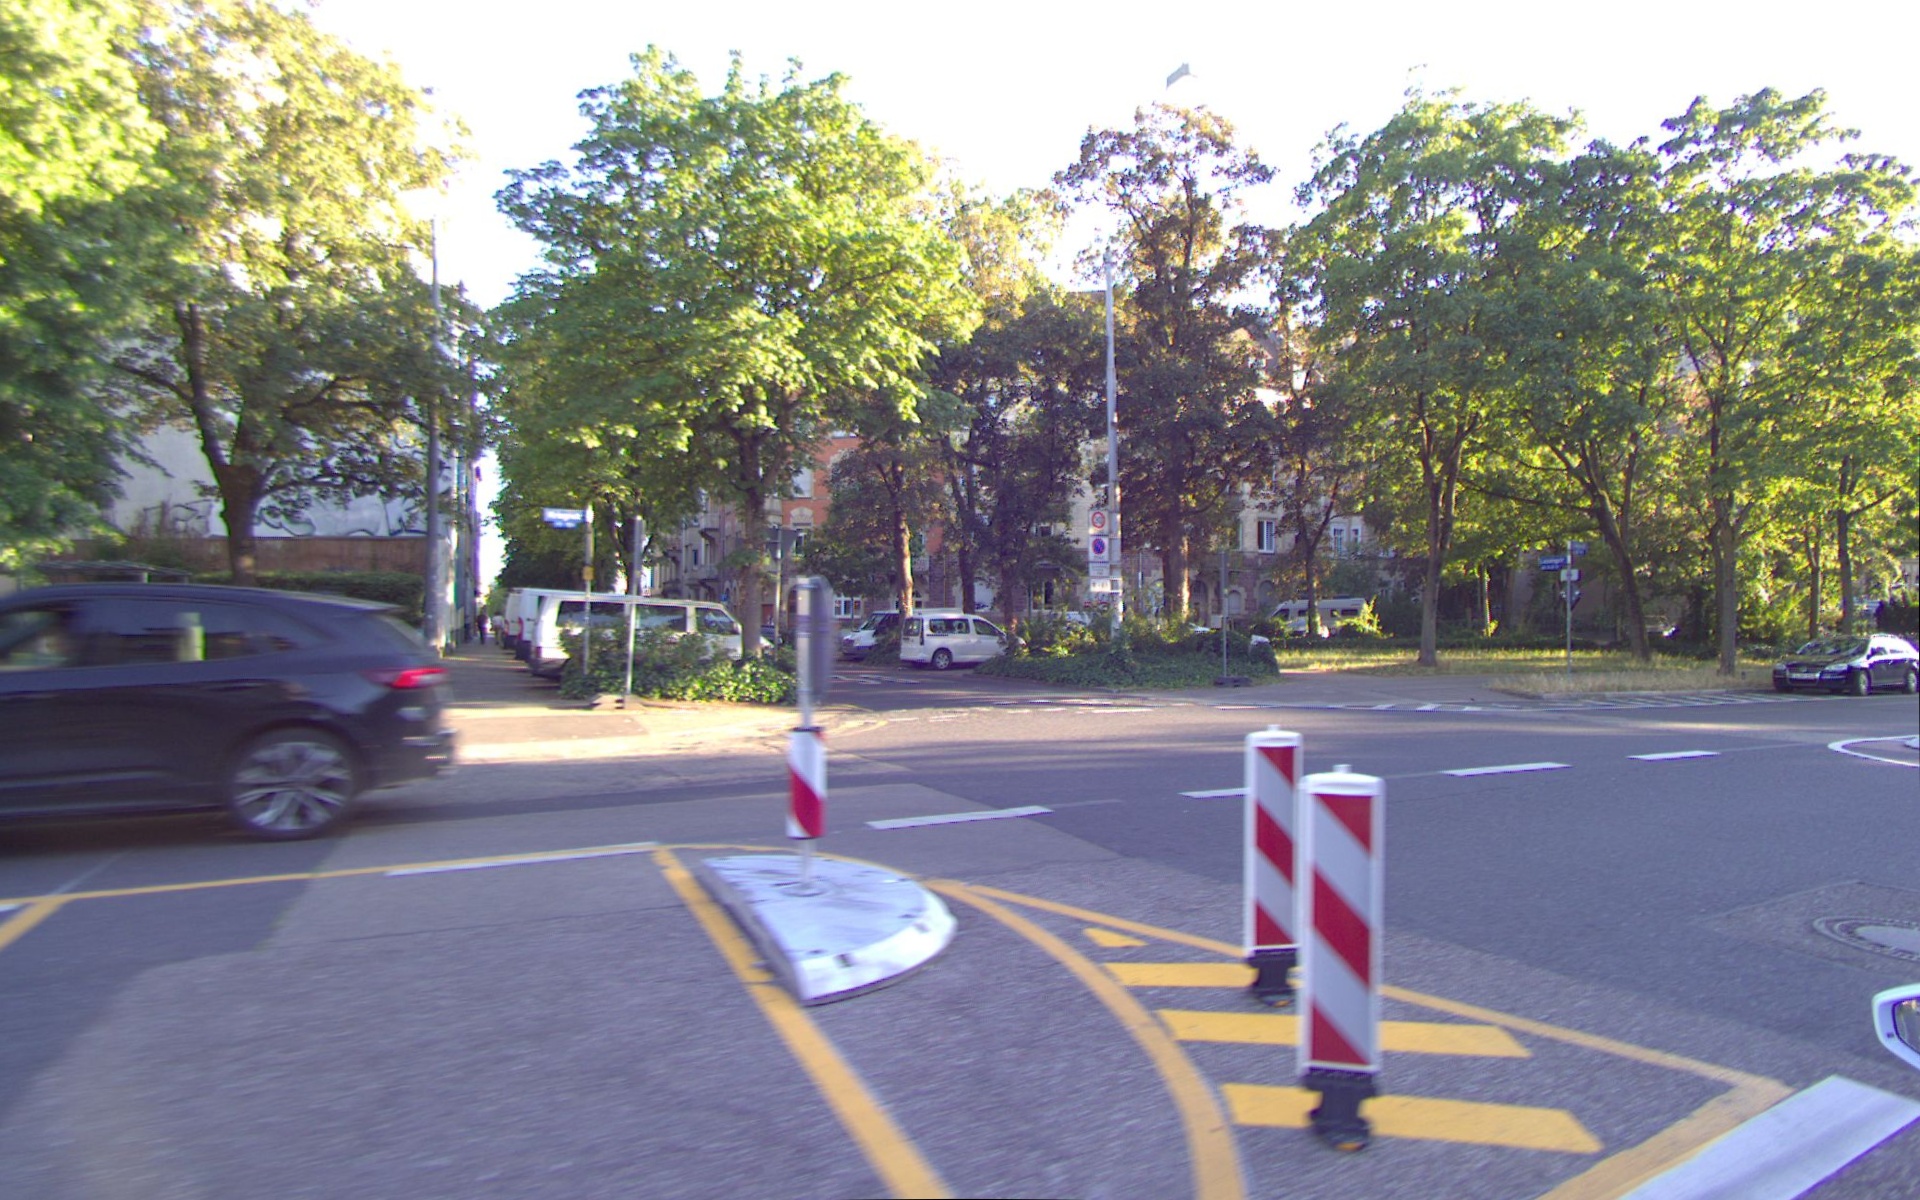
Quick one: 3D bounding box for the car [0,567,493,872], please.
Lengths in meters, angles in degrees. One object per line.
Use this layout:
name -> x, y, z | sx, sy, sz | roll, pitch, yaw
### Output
car -> -5.596, 0.732, 6.669 | 4.507, 1.728, 1.871 | 1, -4, -26

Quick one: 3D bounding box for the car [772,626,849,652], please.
car -> -8.485, 2.193, 57.173 | 3.919, 1.416, 1.895 | 0, -1, 8

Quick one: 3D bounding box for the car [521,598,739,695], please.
car -> -6.743, 0.893, 20.595 | 3.953, 1.819, 1.809 | 1, 0, -31

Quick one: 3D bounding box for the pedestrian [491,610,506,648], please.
pedestrian -> -25.027, 1.565, 54.484 | 0.647, 2.040, 0.689 | 1, -1, -22

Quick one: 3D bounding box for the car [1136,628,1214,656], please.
car -> 11.383, 2.213, 53.479 | 3.919, 1.416, 1.895 | 0, -1, 8

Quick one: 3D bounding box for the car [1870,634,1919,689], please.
car -> 27.167, 1.660, 27.766 | 4.188, 1.448, 1.623 | 1, -2, -27

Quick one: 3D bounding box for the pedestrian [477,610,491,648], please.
pedestrian -> -25.699, 1.554, 54.230 | 0.647, 2.040, 0.689 | 1, -1, -22

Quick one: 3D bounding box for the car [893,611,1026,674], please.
car -> -0.015, 1.350, 33.287 | 3.953, 1.907, 1.984 | 1, 1, -31

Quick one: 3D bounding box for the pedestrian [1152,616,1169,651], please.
pedestrian -> 8.376, 1.397, 42.038 | 0.553, 1.414, 0.453 | 1, -1, -33

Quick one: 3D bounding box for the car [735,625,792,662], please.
car -> -9.276, 1.978, 47.089 | 1.969, 1.619, 4.722 | 1, -1, -19

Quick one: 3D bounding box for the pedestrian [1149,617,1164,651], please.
pedestrian -> 8.358, 1.452, 42.741 | 0.547, 1.414, 0.458 | 0, -1, 4

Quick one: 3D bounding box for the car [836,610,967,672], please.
car -> -2.272, 1.549, 39.256 | 4.684, 2.218, 1.984 | 1, 1, -30

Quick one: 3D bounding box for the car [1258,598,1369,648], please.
car -> 18.380, 1.185, 52.407 | 5.128, 2.518, 2.275 | 0, -1, 8

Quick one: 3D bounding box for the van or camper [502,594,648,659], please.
van or camper -> -15.698, 1.054, 40.995 | 5.359, 2.504, 2.058 | 1, 0, -28

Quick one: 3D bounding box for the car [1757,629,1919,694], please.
car -> 22.208, 1.498, 25.292 | 4.484, 1.526, 1.618 | 1, -1, -26

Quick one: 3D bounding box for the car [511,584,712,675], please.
car -> -9.553, 0.777, 27.611 | 5.027, 2.319, 2.209 | 1, 0, -24

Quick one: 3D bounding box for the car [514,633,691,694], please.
car -> -8.935, 1.545, 25.188 | 3.953, 1.350, 1.724 | 1, 0, -31
